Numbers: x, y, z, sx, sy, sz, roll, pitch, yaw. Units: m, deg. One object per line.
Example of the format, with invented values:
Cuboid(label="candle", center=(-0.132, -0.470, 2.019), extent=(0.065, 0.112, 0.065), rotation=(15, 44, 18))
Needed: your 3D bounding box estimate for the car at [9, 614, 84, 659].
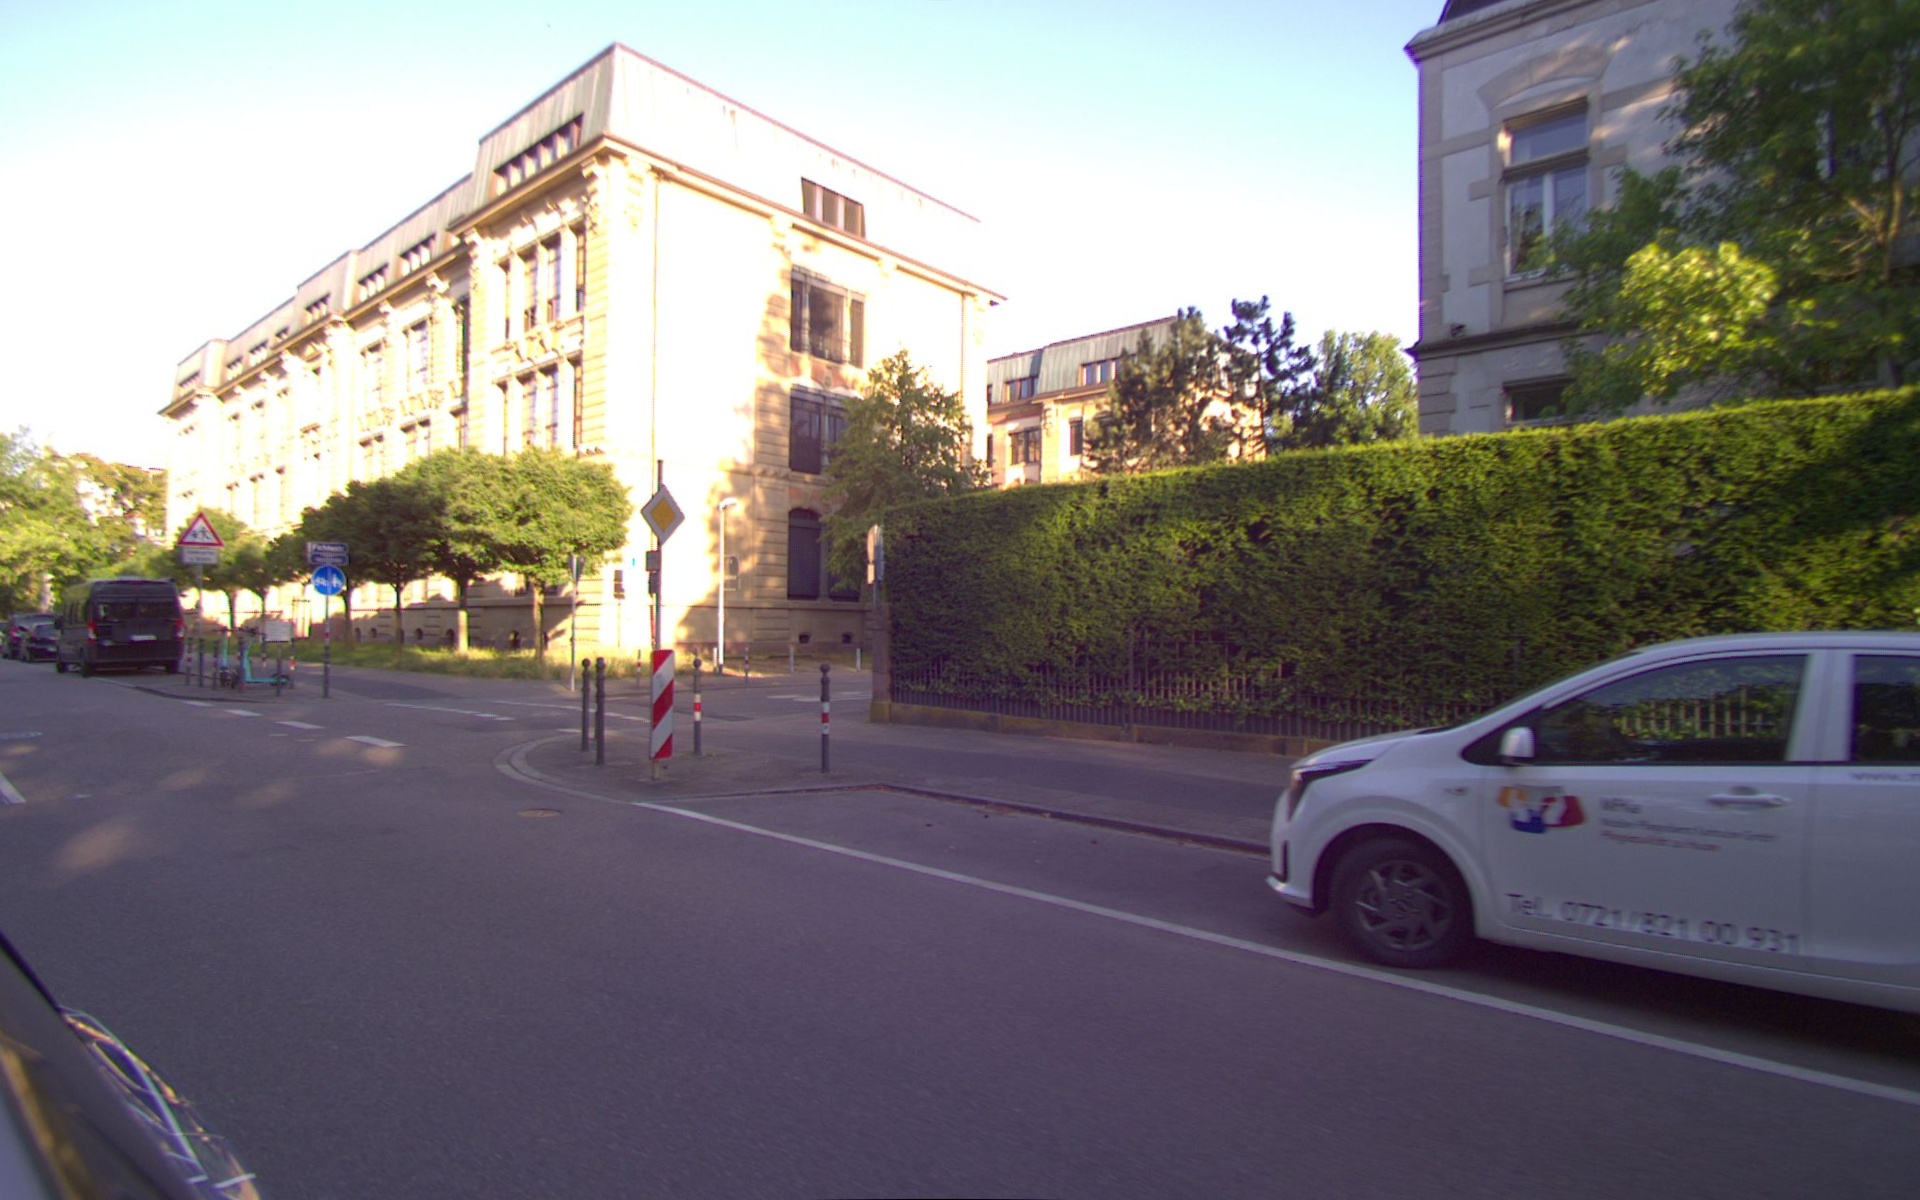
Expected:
Cuboid(label="car", center=(-33.260, 1.281, 36.824), extent=(3.854, 1.481, 1.678), rotation=(-1, 1, 43))

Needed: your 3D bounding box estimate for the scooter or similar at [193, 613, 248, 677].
Cuboid(label="scooter or similar", center=(-15.509, 0.925, 21.254), extent=(0.425, 1.284, 1.347), rotation=(0, -1, -13))

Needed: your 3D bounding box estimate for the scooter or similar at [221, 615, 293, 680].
Cuboid(label="scooter or similar", center=(-14.461, 0.961, 20.851), extent=(0.426, 1.284, 1.341), rotation=(0, -1, 6))

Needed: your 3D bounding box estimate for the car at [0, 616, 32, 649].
Cuboid(label="car", center=(-45.382, 1.519, 47.947), extent=(4.376, 1.507, 1.700), rotation=(-1, -1, 42))

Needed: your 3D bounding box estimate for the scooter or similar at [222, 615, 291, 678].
Cuboid(label="scooter or similar", center=(-14.869, 0.971, 21.429), extent=(0.426, 1.284, 1.341), rotation=(0, -1, 6))

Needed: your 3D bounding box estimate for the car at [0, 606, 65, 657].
Cuboid(label="car", center=(-37.486, 1.236, 40.679), extent=(4.331, 1.880, 1.759), rotation=(-1, 1, 42))

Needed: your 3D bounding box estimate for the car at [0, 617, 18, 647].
Cuboid(label="car", center=(-50.282, 1.665, 52.513), extent=(4.375, 1.507, 1.601), rotation=(-1, -1, 41))

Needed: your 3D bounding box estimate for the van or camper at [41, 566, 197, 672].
Cuboid(label="van or camper", center=(-23.271, 0.479, 27.865), extent=(7.076, 2.563, 2.206), rotation=(-1, 0, 41))

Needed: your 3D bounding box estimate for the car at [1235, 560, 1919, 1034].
Cuboid(label="car", center=(3.236, 0.677, 4.215), extent=(3.709, 1.526, 1.597), rotation=(-1, -3, 40))
